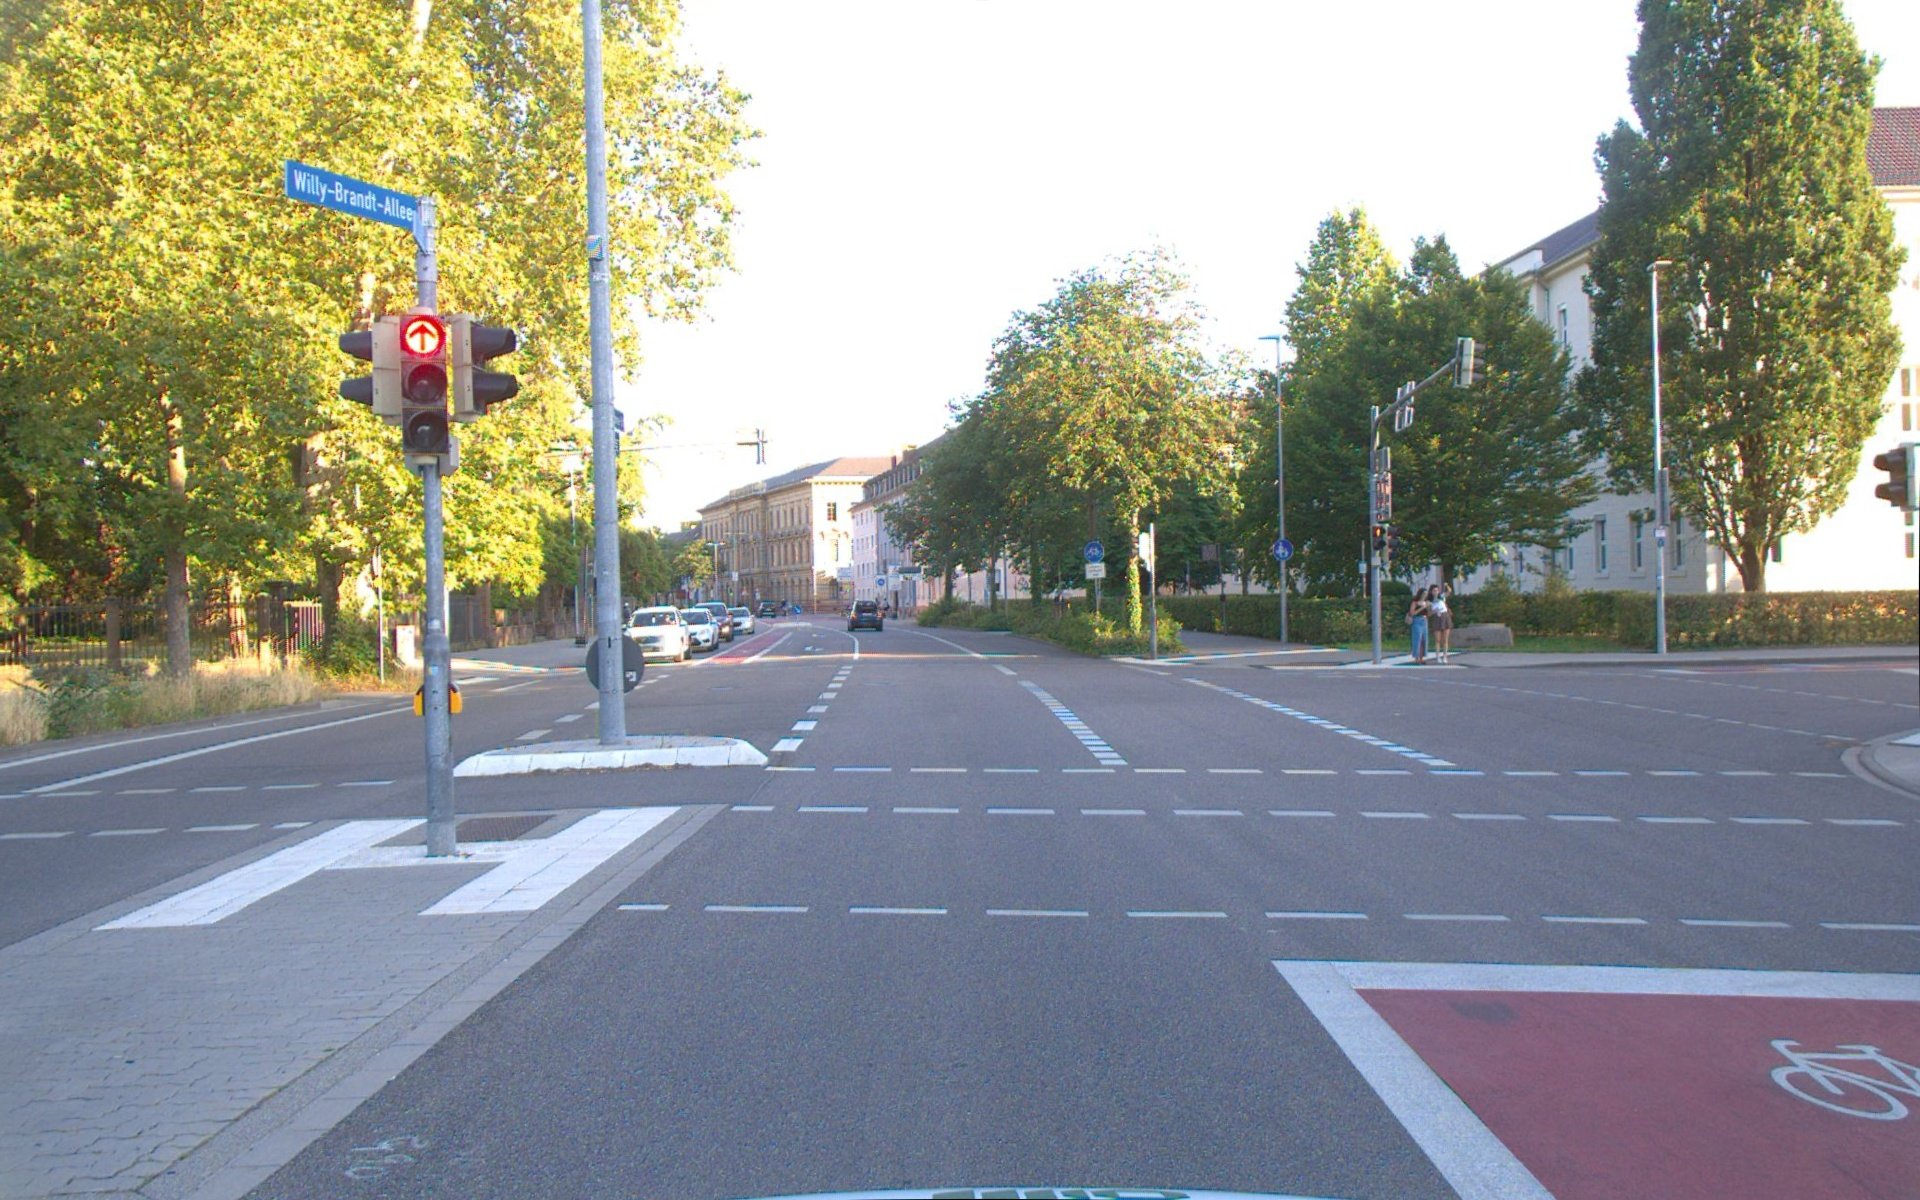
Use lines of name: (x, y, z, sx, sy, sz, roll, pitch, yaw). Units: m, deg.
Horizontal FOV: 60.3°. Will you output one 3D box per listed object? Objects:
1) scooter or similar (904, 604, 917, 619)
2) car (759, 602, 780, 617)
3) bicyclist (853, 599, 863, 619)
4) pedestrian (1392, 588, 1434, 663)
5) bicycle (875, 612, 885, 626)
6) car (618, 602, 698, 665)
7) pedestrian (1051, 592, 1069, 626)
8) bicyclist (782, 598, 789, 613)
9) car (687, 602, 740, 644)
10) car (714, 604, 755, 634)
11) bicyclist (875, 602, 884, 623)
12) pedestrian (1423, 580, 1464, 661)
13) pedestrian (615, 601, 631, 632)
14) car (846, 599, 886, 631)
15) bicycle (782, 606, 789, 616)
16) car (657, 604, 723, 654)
scooter or similar: (-4.374, 1.009, 145.263, 0.619, 1.360, 2.391, -1, 0, -14)
car: (-20.084, 1.043, 174.231, 1.882, 1.442, 4.758, -3, 0, -11)
bicyclist: (-7.508, 0.648, 121.768, 0.639, 1.471, 0.878, 1, 0, -6)
pedestrian: (10.135, 0.560, 36.993, 0.667, 1.650, 0.845, -1, 0, -1)
bicycle: (-5.878, 1.388, 121.013, 0.639, 1.033, 2.195, 1, 0, -5)
car: (-9.094, 0.973, 50.170, 1.879, 1.725, 4.422, -3, 0, -5)
pedestrian: (5.281, 0.474, 87.369, 0.756, 1.769, 0.805, -1, 0, -10)
bicyclist: (-19.223, 0.612, 182.018, 0.640, 1.727, 0.955, 1, -1, -8)
car: (-10.613, 0.969, 71.568, 1.879, 1.653, 4.634, -3, 0, -5)
car: (-12.022, 1.003, 88.498, 1.879, 1.442, 4.765, -3, 0, -5)
bicyclist: (-5.882, 0.929, 121.137, 0.639, 1.501, 0.940, 1, 0, -5)
pedestrian: (10.828, 0.444, 37.033, 0.667, 1.784, 0.688, -1, 0, -1)
pedestrian: (-18.354, 0.888, 90.056, 0.667, 1.650, 0.688, -1, 0, -1)
car: (-4.782, 0.759, 84.778, 1.829, 1.536, 3.999, 1, 0, -1)
bicycle: (-19.233, 1.233, 182.027, 0.640, 1.033, 2.194, 1, 0, -8)
car: (-9.641, 1.001, 59.404, 1.879, 1.611, 4.669, -3, 0, -5)
